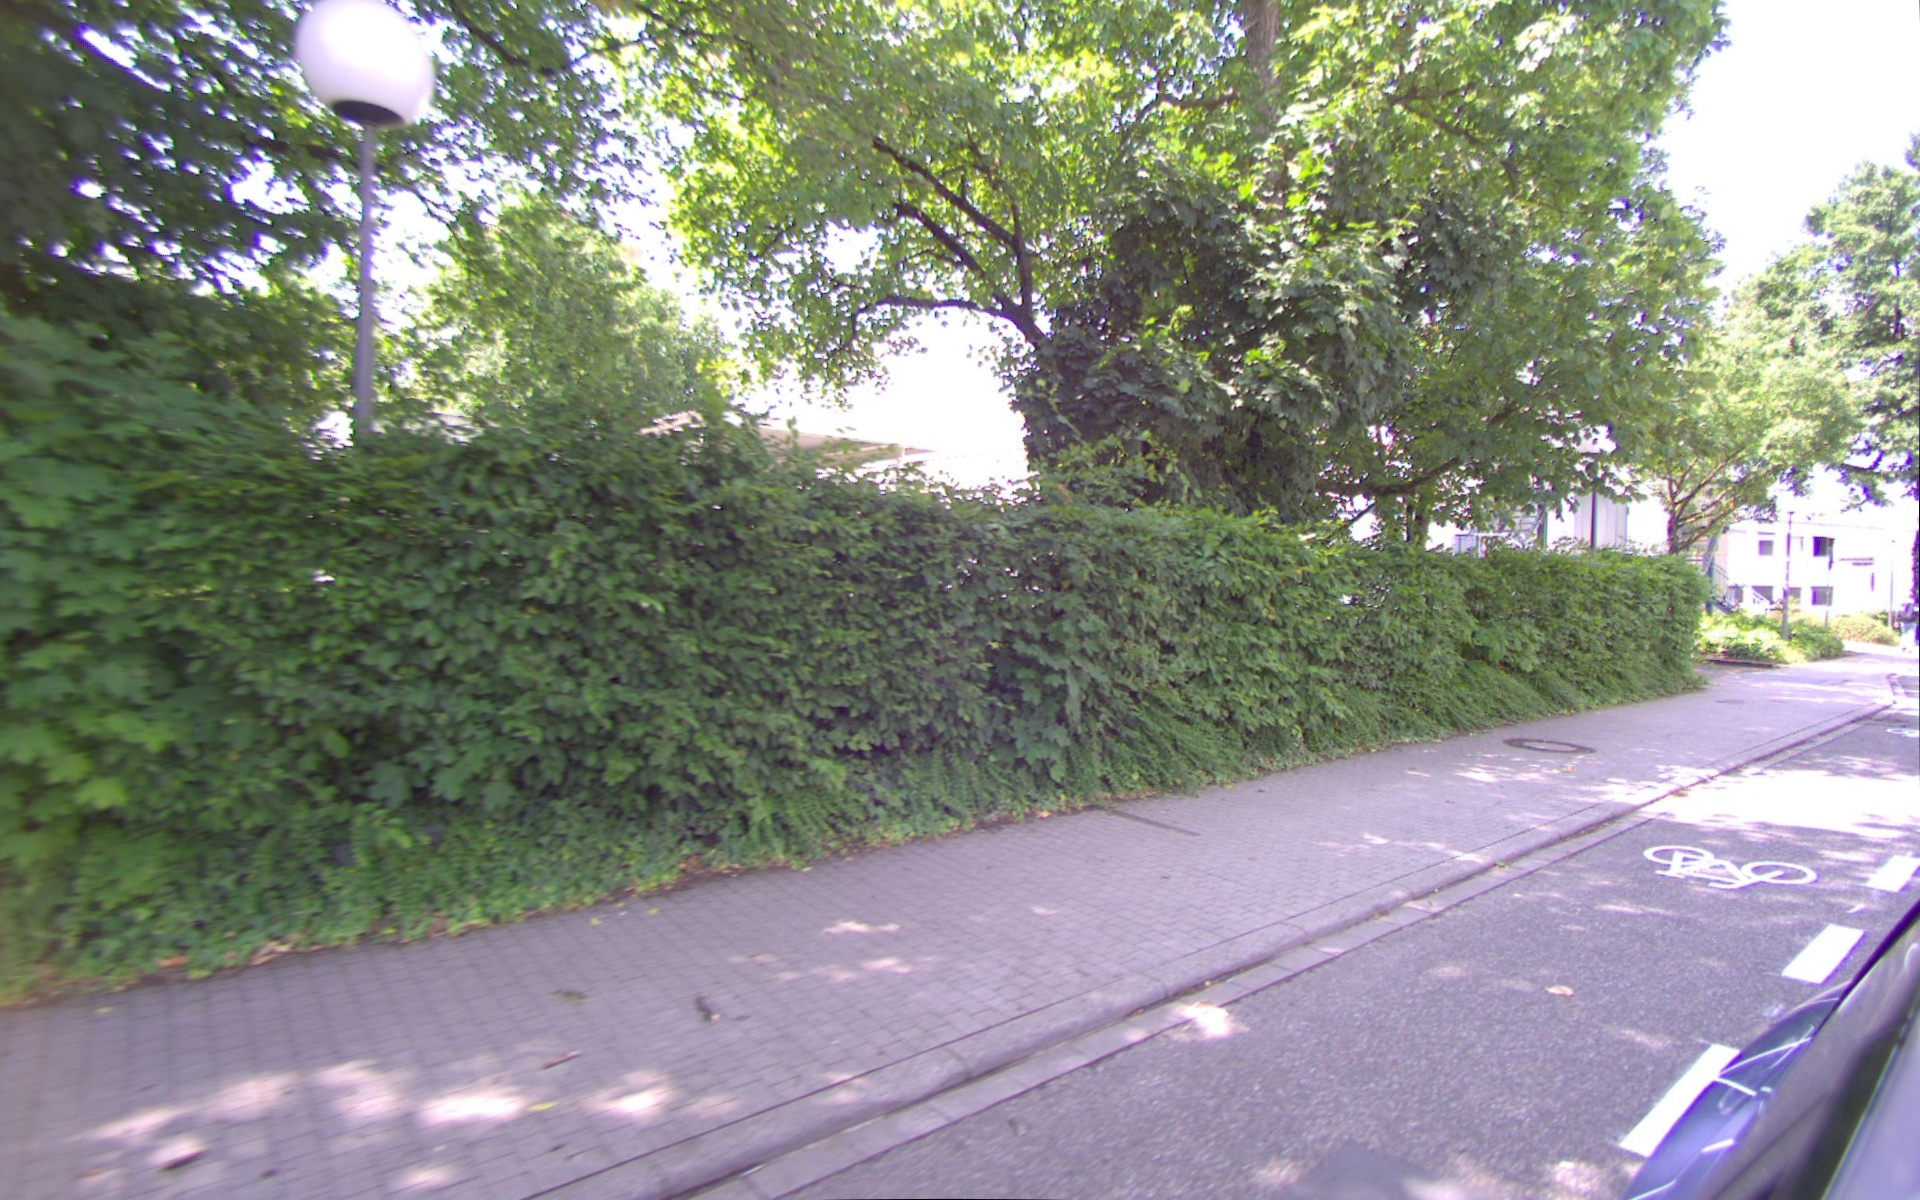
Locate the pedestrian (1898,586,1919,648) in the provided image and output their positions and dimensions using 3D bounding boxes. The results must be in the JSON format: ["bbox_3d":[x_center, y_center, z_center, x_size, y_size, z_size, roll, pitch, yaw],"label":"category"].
[{"bbox_3d":[26.961,0.473,28.456,1.235,1.695,0.740,1,1,-43],"label":"pedestrian"}]

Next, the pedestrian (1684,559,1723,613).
[{"bbox_3d":[28.983,-0.542,39.474,0.932,2.038,0.930,1,1,-36],"label":"pedestrian"}]
